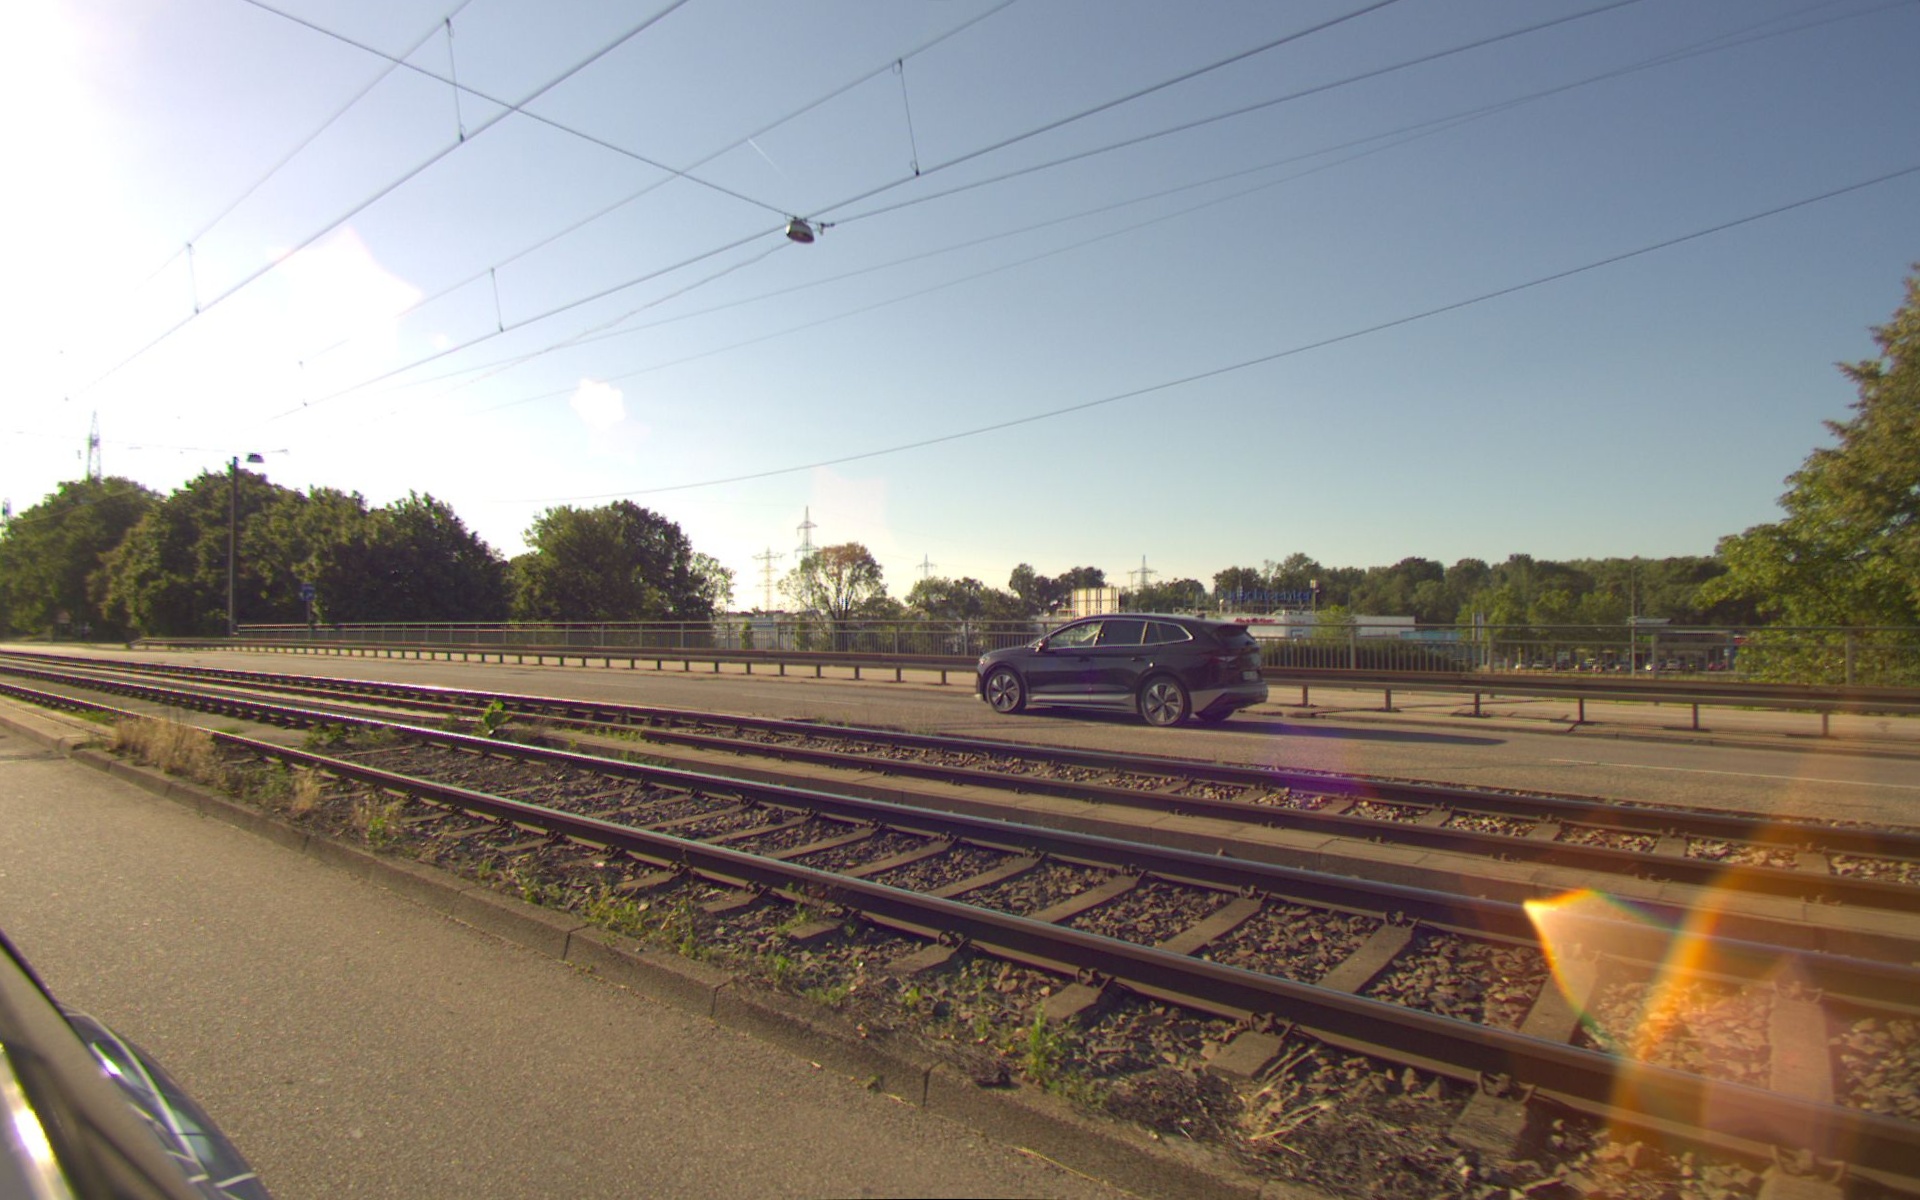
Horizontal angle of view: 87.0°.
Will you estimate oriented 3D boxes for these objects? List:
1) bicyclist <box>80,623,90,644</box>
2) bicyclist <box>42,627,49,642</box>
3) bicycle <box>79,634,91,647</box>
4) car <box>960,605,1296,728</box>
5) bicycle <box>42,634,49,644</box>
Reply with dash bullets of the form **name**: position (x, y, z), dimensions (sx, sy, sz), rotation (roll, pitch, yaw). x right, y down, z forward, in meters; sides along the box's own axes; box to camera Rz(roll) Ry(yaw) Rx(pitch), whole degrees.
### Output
- **bicyclist**: position (-74.279, 2.871, 85.914), dimensions (0.832, 1.764, 0.492), rotation (-1, 0, 39)
- **bicyclist**: position (-88.806, 3.343, 98.255), dimensions (0.417, 1.439, 0.755), rotation (-1, 0, -44)
- **bicycle**: position (-74.238, 3.408, 85.893), dimensions (1.726, 1.060, 0.499), rotation (-1, 0, 40)
- **car**: position (2.394, 0.896, 15.248), dimensions (4.795, 1.592, 1.692), rotation (-1, -2, 39)
- **bicycle**: position (-88.756, 3.789, 98.206), dimensions (0.420, 0.971, 1.914), rotation (-1, 0, -44)
